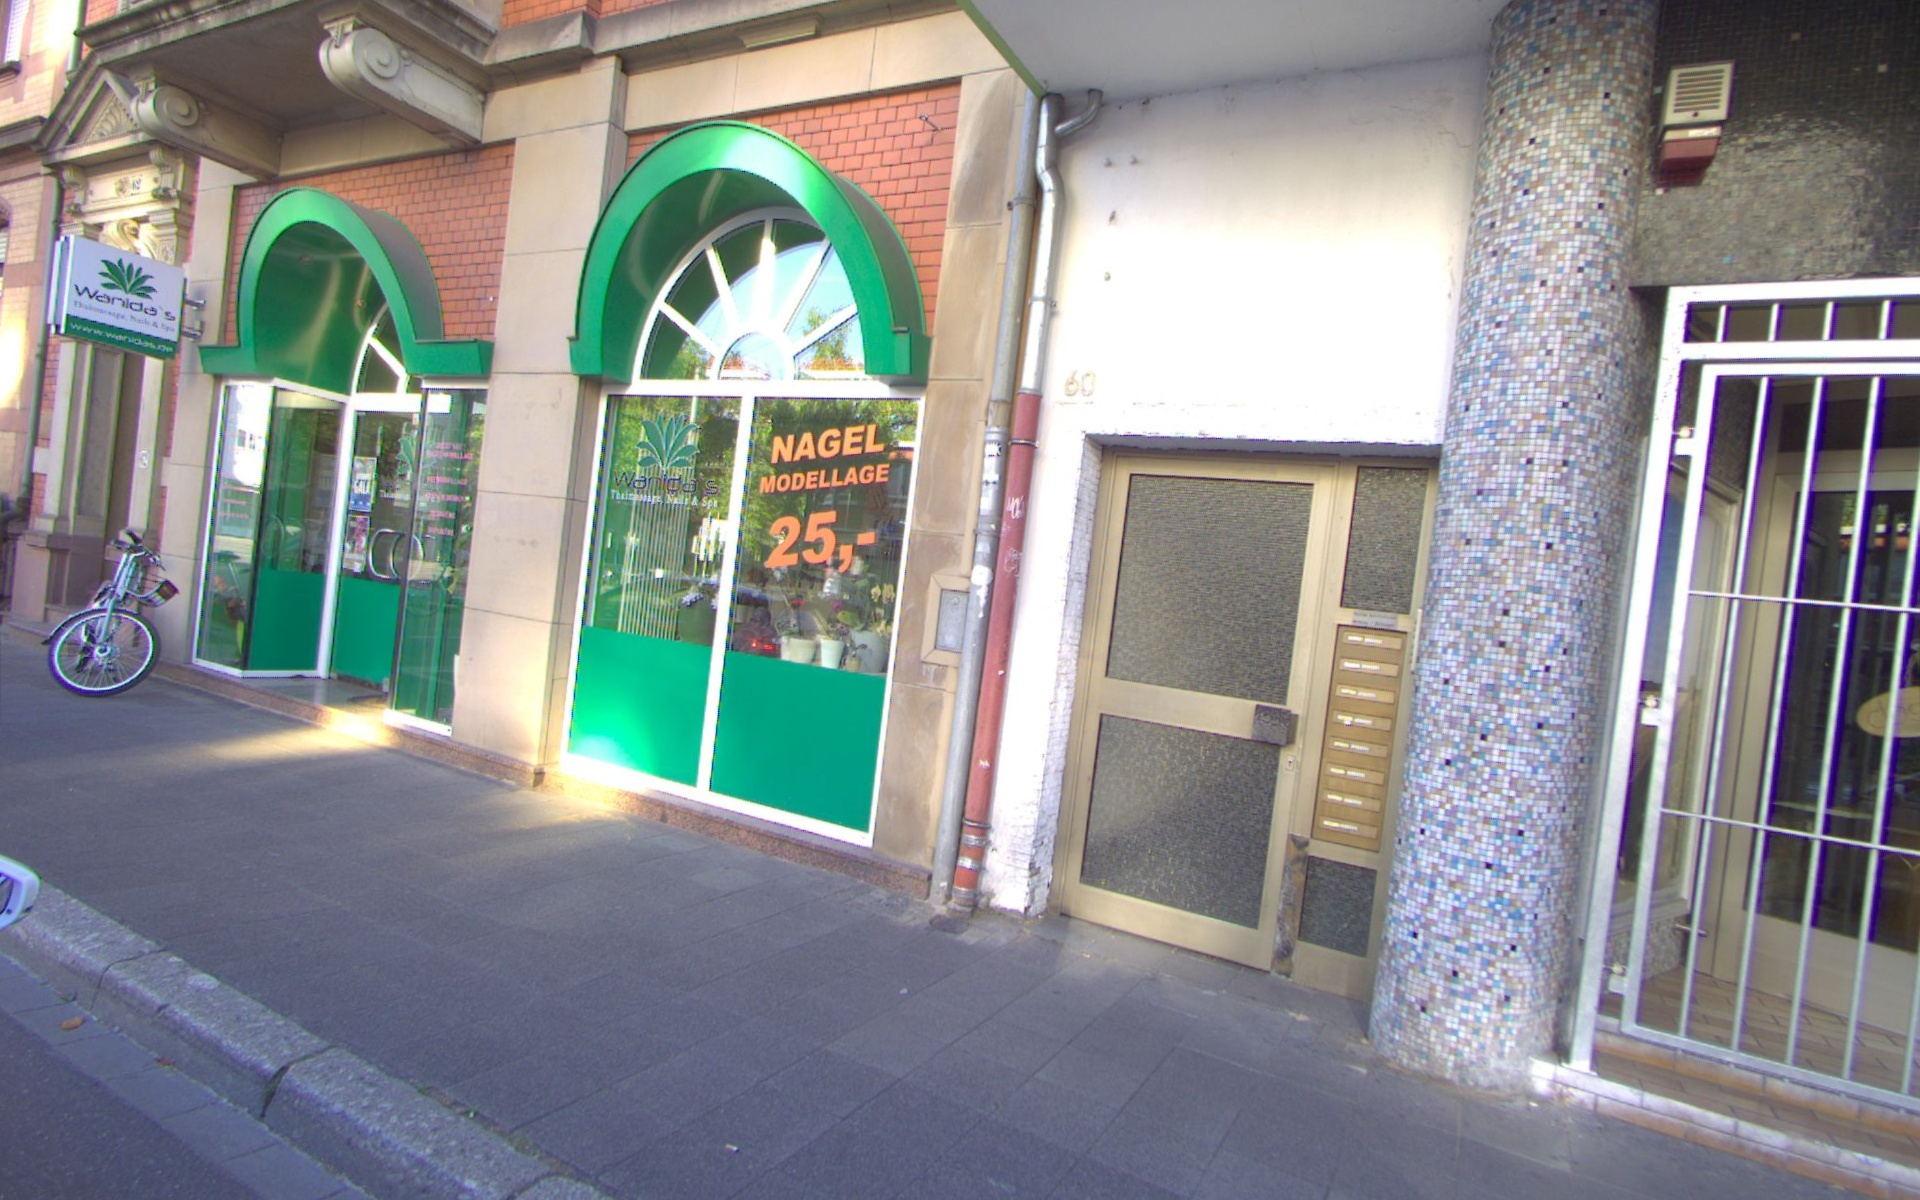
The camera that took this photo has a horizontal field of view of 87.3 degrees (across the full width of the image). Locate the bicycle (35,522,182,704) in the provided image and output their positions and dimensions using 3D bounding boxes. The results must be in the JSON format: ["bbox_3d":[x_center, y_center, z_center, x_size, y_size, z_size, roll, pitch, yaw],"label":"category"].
[{"bbox_3d":[-6.361,0.068,7.497,0.712,1.167,1.635,4,2,-42],"label":"bicycle"}]
